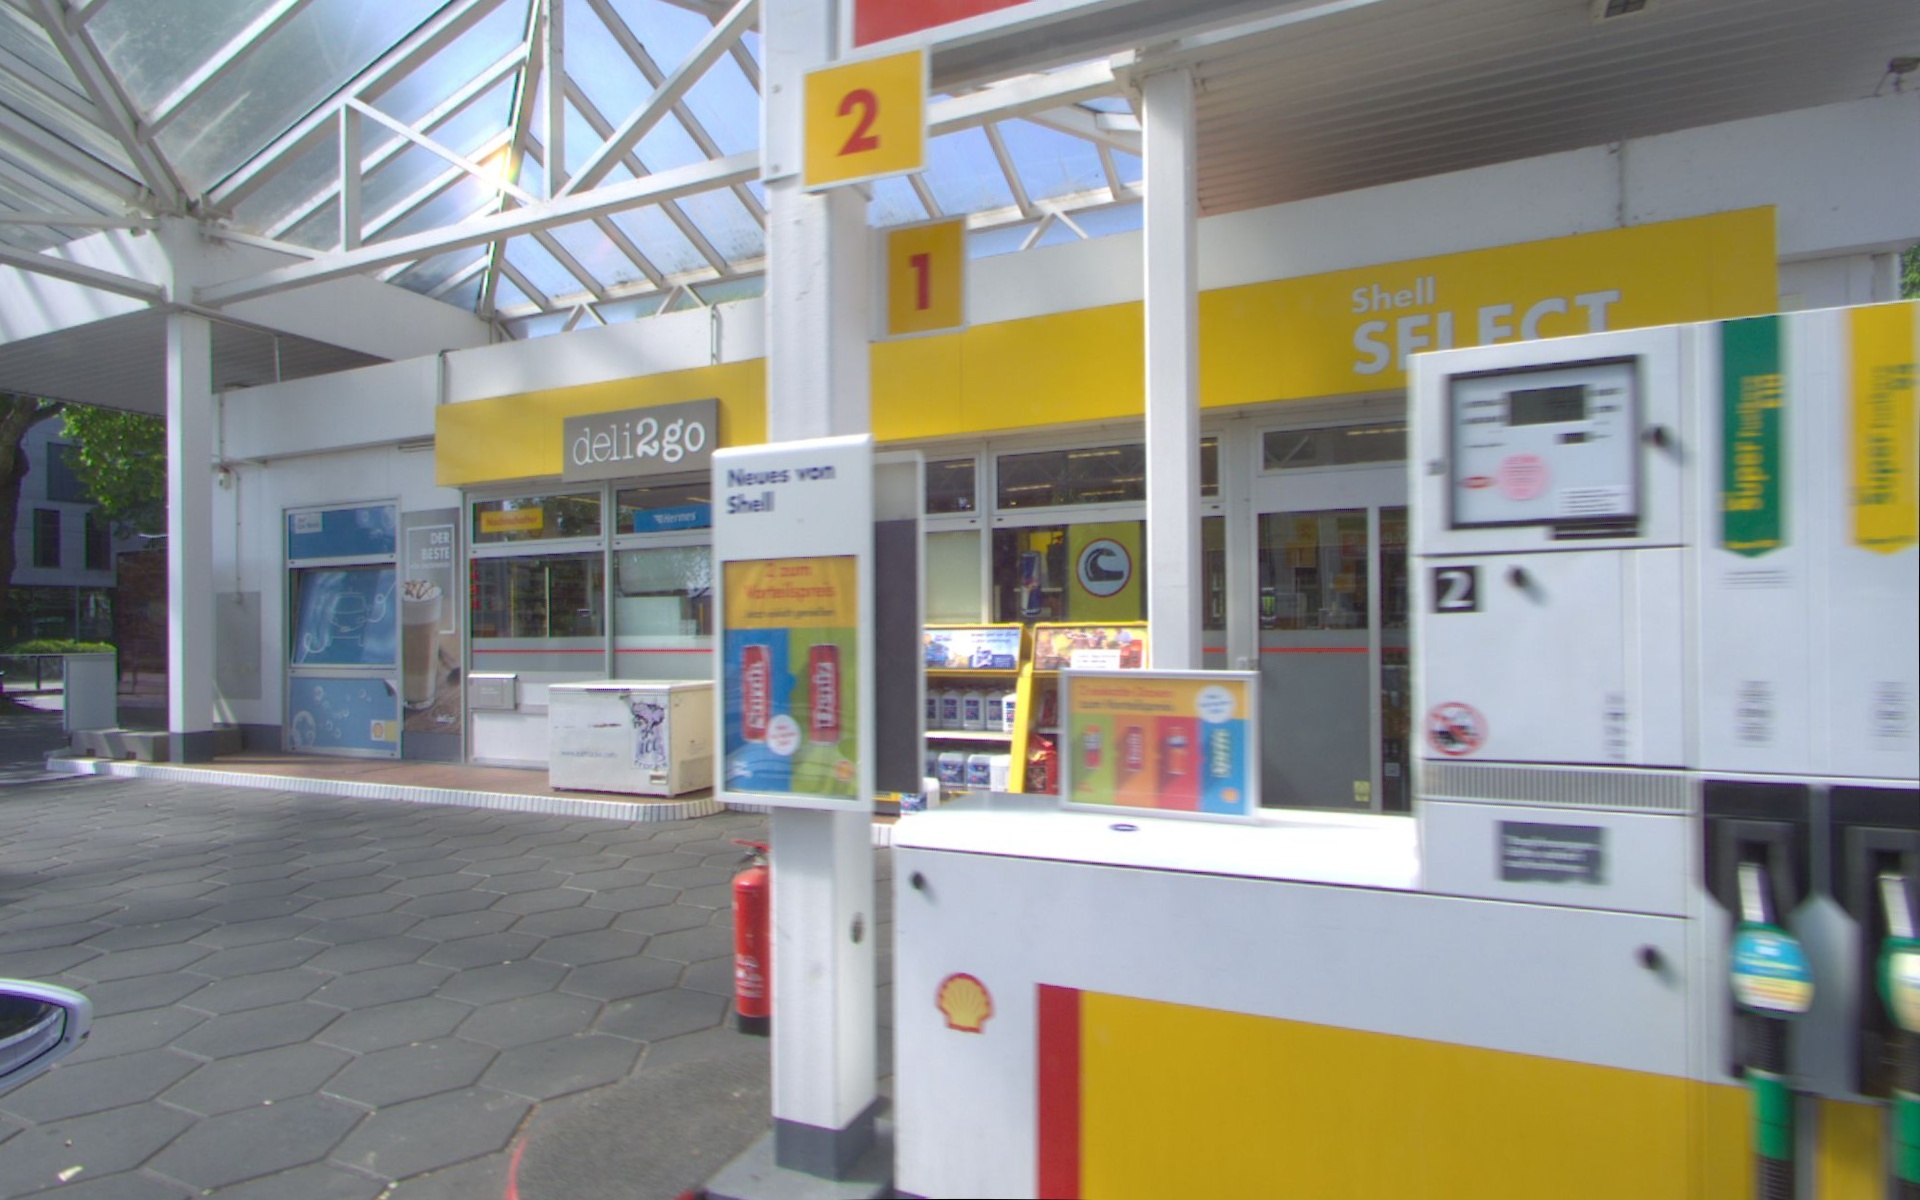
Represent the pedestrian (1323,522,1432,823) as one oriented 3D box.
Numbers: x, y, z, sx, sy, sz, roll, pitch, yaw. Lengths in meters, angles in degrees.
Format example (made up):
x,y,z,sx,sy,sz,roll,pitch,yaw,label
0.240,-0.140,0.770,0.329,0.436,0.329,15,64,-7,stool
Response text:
x,y,z,sx,sy,sz,roll,pitch,yaw,label
2.996,0.505,7.237,0.612,2.039,0.742,-1,-1,16,pedestrian
